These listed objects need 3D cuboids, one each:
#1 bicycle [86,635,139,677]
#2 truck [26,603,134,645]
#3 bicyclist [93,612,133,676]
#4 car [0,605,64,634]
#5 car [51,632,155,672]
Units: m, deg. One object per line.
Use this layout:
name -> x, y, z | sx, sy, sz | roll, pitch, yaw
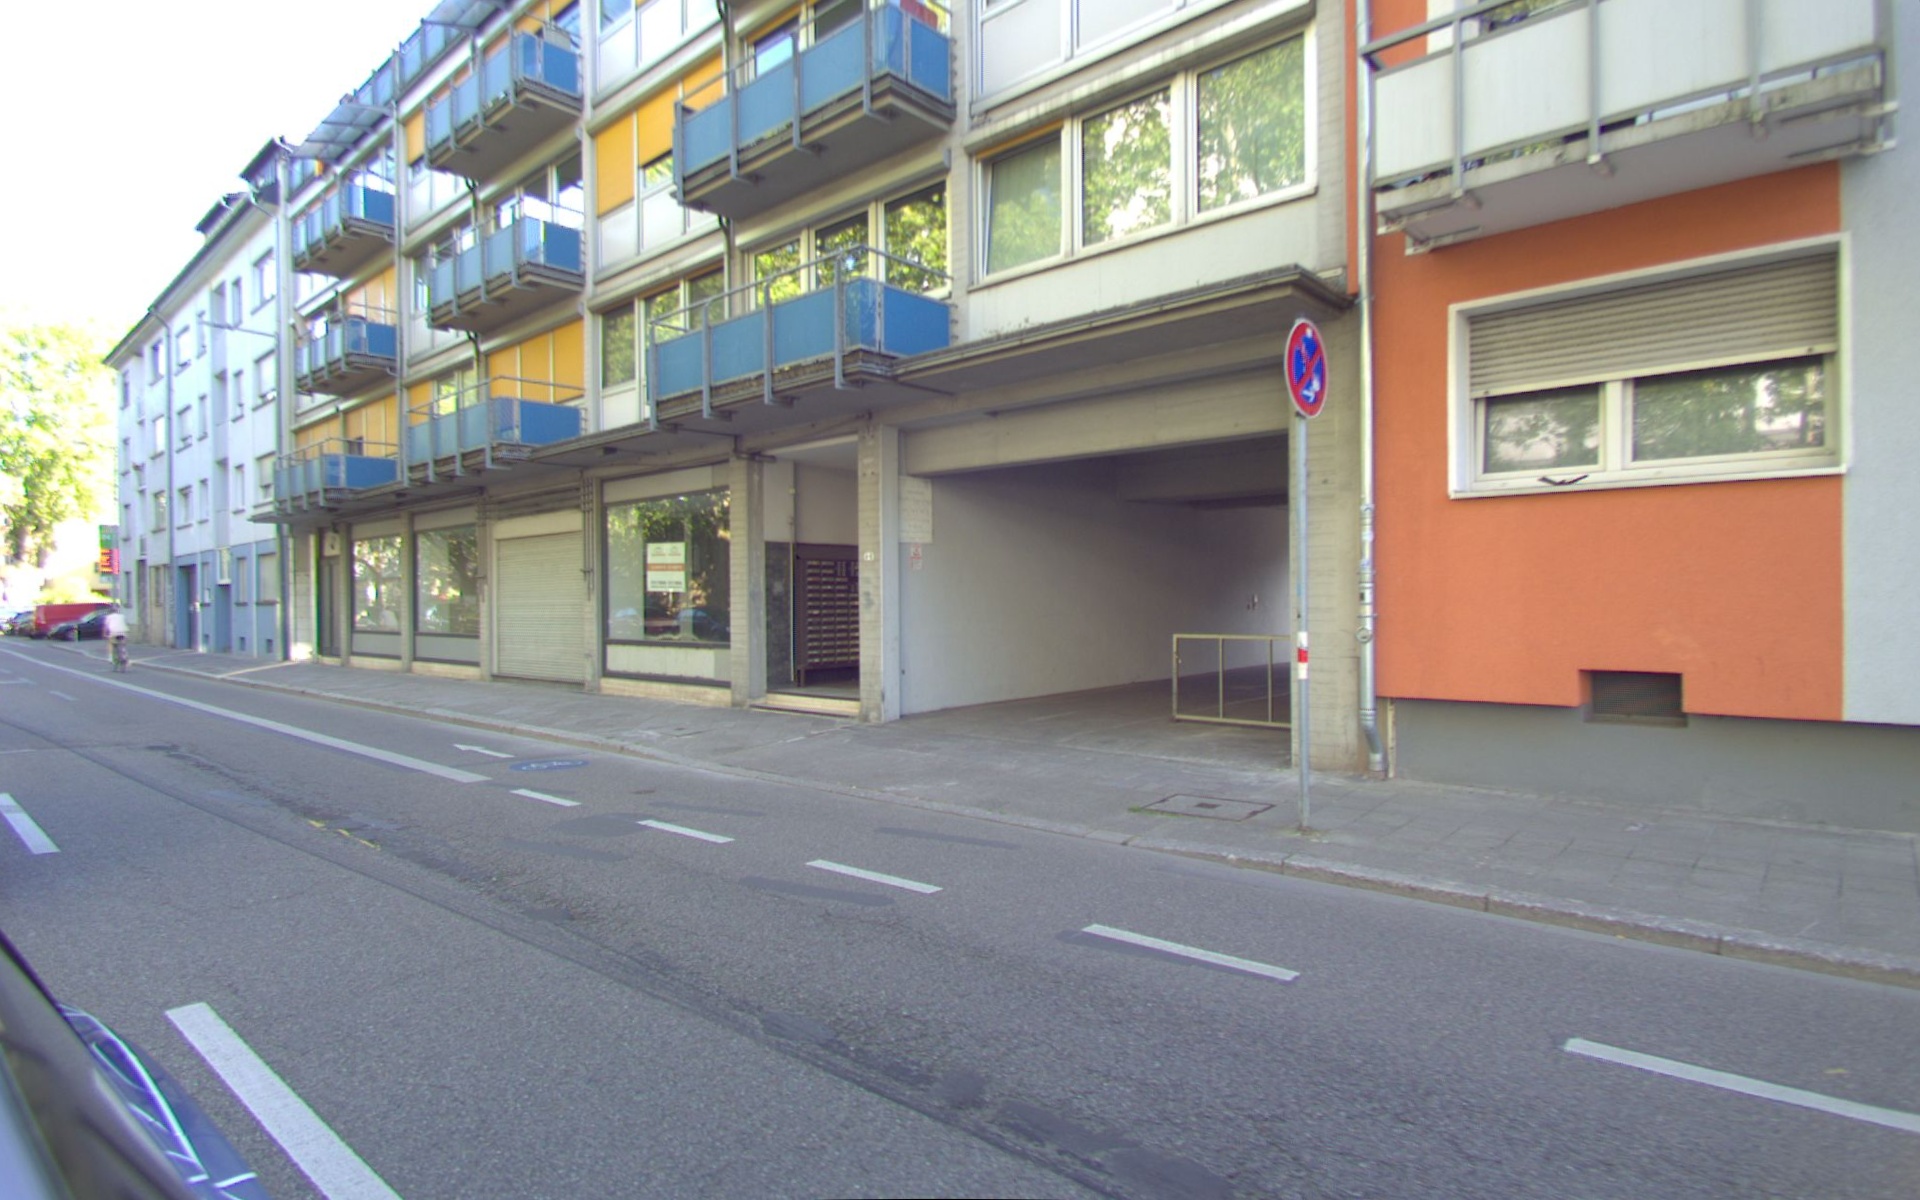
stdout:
bicycle -> -22.398, 1.460, 26.727 | 2.631, 0.994, 0.683 | 0, -1, 41
truck -> -49.049, 1.300, 56.460 | 1.876, 2.174, 4.348 | 0, 0, 40
bicyclist -> -22.275, 1.138, 26.622 | 0.758, 1.643, 0.683 | -1, -1, 41
car -> -67.775, 1.370, 73.358 | 1.999, 2.029, 3.947 | 0, 0, 40
car -> -44.936, 2.689, 53.113 | 1.830, 1.849, 3.946 | 0, 0, 40
